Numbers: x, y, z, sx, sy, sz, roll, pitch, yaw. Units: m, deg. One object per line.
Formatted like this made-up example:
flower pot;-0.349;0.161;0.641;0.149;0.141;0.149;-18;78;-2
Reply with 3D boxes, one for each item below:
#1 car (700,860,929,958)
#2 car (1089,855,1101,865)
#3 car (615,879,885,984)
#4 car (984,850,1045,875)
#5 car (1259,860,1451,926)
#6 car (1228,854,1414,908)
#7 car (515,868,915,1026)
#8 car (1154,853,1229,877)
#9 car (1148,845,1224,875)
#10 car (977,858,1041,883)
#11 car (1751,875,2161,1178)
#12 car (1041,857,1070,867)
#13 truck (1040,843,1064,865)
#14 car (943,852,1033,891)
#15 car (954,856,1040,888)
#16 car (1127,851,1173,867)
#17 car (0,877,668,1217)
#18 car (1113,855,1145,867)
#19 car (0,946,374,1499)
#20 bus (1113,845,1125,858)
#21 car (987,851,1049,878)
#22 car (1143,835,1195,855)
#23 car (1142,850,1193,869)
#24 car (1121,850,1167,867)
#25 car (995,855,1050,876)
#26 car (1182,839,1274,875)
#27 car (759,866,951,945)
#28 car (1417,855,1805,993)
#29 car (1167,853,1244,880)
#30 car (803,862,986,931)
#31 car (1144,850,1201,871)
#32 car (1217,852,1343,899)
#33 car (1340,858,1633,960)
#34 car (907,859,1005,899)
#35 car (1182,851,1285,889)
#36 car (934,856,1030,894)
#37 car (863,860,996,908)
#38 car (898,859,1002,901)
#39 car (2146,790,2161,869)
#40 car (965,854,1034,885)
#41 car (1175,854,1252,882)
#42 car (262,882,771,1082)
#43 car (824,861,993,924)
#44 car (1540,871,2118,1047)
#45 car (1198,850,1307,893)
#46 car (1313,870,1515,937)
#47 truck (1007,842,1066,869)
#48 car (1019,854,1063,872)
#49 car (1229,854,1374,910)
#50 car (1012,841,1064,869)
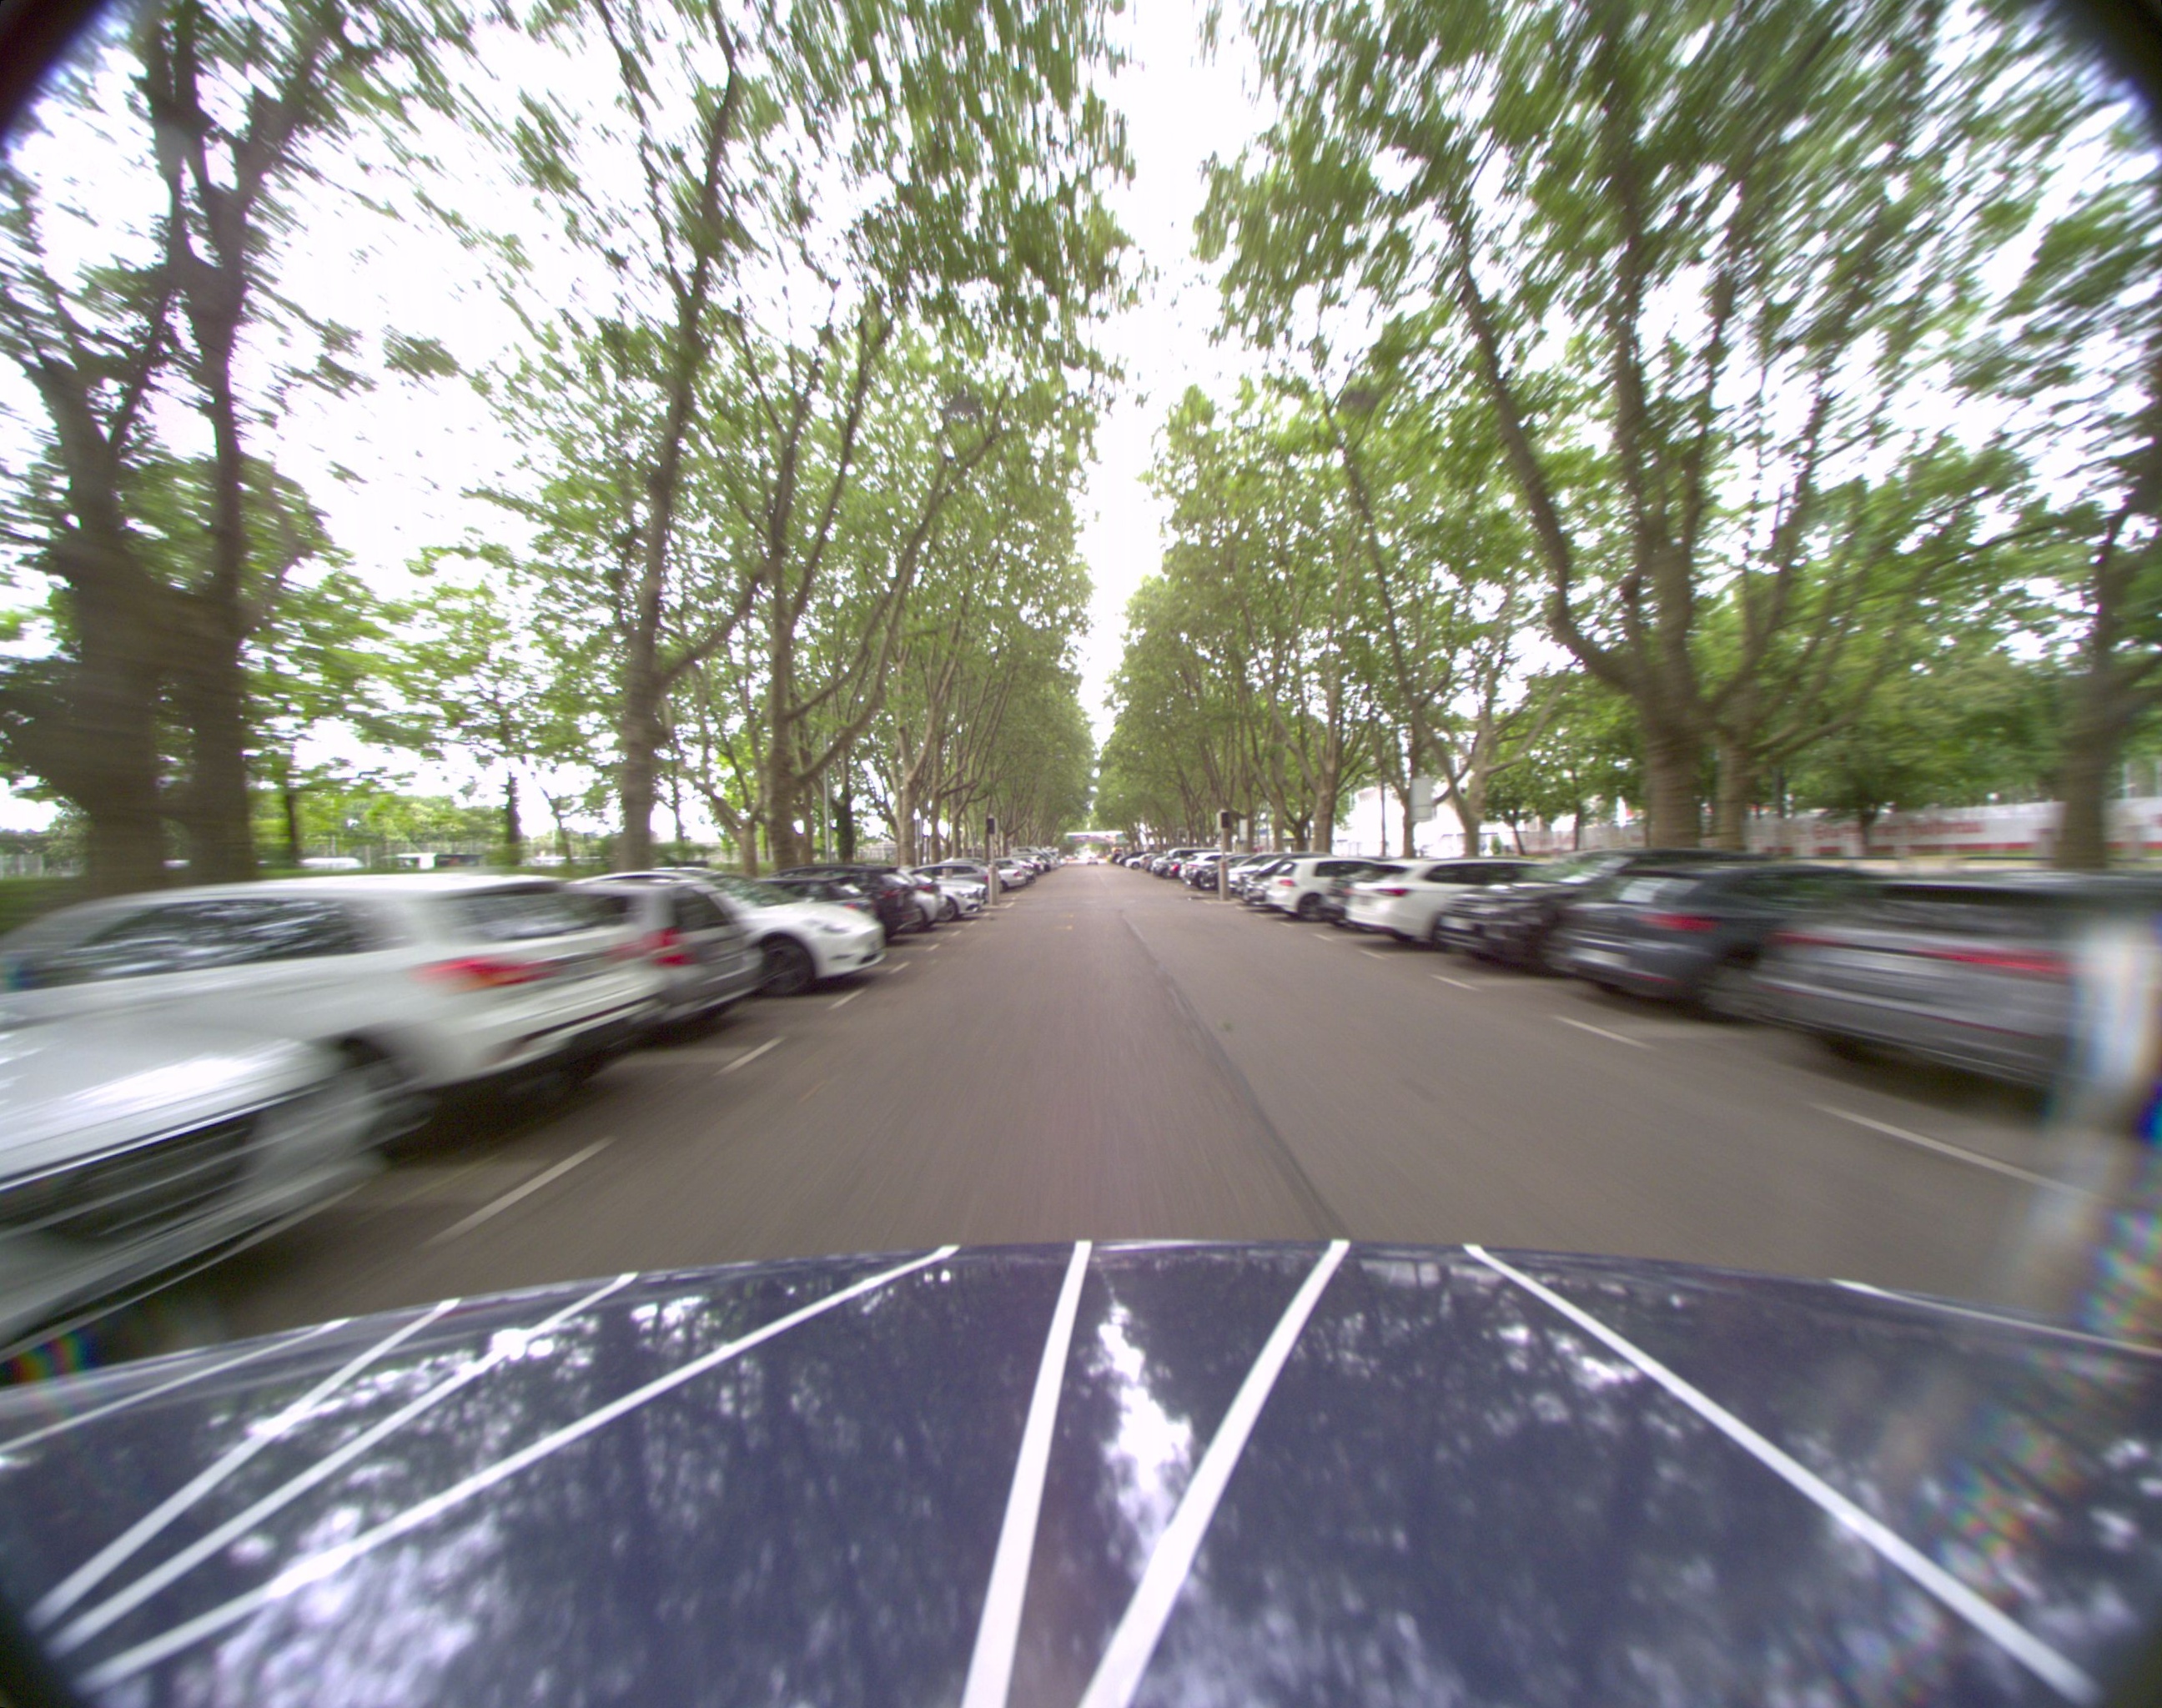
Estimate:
car;-5.053;1.018;14.853;3.786;1.588;1.820;-3;0;-3
car;2.241;0.939;119.877;1.693;1.463;3.839;0;0;-1
car;-5.227;1.205;12.342;3.655;1.363;1.518;-3;0;-3
car;-4.563;0.584;52.327;3.997;1.477;1.694;-3;0;-1
car;6.234;0.853;17.552;3.837;1.421;1.694;0;0;-3
car;6.312;0.690;20.246;4.413;1.357;1.694;0;0;-3
car;-4.456;1.099;9.811;4.178;1.587;1.854;-3;0;-3
car;6.767;0.690;47.008;4.458;1.444;1.775;0;0;4
car;7.171;0.400;52.150;4.907;2.007;1.919;0;1;-3
car;-4.480;1.019;47.770;3.837;1.381;1.694;-3;0;-1
car;6.725;0.869;4.650;3.837;1.421;1.694;0;0;-3
car;-3.855;1.253;114.747;4.330;1.294;1.700;-3;0;1
truck;-4.124;-0.010;107.735;2.466;2.920;7.533;-3;0;-8
car;-4.502;0.851;37.383;4.123;1.660;1.694;-3;0;1
car;-4.336;0.933;39.667;4.222;1.443;1.610;-3;0;-1
car;6.829;0.486;75.326;4.391;1.587;2.000;0;0;-2
car;-4.965;1.094;4.913;3.655;1.657;1.518;-3;0;-3
car;7.501;1.082;118.572;4.917;1.913;2.208;0;0;1
car;-4.892;1.187;2.434;3.655;1.402;1.518;-3;0;-3
bus;9.337;-0.543;187.787;2.658;3.136;12.369;1;0;2
car;-4.777;0.789;57.951;4.394;1.745;1.801;-3;0;3
car;7.762;-0.796;67.588;4.352;1.658;2.000;1;0;-2
car;7.297;0.457;64.277;3.998;1.467;1.842;1;0;-2
car;7.725;0.556;93.408;5.450;2.115;1.940;0;0;-1
car;-4.976;0.979;64.613;4.514;1.517;1.703;-3;0;-1
car;6.771;0.137;35.179;3.837;1.618;1.952;0;0;-3
car;-4.978;1.117;17.124;3.786;1.461;1.623;-3;0;-3
car;6.733;0.823;9.948;3.838;1.599;1.858;0;0;-3
car;6.893;0.667;42.390;4.006;1.463;1.537;0;0;-3
car;-4.709;1.060;19.669;4.309;1.461;1.623;-3;0;-3
car;7.456;0.543;62.201;4.352;1.658;2.000;1;0;-2
car;7.043;0.737;27.120;4.054;1.599;1.694;0;1;-3
car;6.395;0.822;12.255;3.837;1.488;1.694;0;0;-3
car;-5.281;1.043;32.386;3.785;1.461;1.624;-3;0;2
car;6.439;0.666;32.443;4.077;1.599;1.799;0;0;3
car;-4.477;0.938;34.778;4.124;1.461;1.694;-3;0;0
car;-5.353;1.044;27.189;4.377;1.461;1.623;-3;0;0
car;-5.165;1.020;30.362;3.785;1.461;1.667;-3;0;0
car;33.820;-0.841;20.960;6.017;2.239;2.000;-3;0;0
car;-4.754;0.889;44.735;3.837;1.598;1.694;-3;0;-1
car;6.988;0.720;40.406;3.765;1.466;1.864;0;0;-1
car;-5.172;1.135;7.272;3.653;1.510;1.644;-3;0;4
car;-5.109;1.128;22.945;4.626;1.461;1.650;-4;0;1
car;6.875;0.901;7.318;3.837;1.421;1.802;0;0;-1
car;6.650;0.668;29.711;3.837;1.599;1.834;0;0;-3
car;6.544;0.946;15.135;3.325;1.196;1.584;0;0;-3
truck;-4.911;0.168;85.037;6.309;2.699;2.098;-3;0;2
car;-3.918;0.848;74.830;4.129;1.420;1.703;-5;1;2
car;6.541;0.799;22.783;3.837;1.599;1.694;0;0;-3
car;-4.487;0.105;79.924;5.241;2.673;1.957;-3;0;1
